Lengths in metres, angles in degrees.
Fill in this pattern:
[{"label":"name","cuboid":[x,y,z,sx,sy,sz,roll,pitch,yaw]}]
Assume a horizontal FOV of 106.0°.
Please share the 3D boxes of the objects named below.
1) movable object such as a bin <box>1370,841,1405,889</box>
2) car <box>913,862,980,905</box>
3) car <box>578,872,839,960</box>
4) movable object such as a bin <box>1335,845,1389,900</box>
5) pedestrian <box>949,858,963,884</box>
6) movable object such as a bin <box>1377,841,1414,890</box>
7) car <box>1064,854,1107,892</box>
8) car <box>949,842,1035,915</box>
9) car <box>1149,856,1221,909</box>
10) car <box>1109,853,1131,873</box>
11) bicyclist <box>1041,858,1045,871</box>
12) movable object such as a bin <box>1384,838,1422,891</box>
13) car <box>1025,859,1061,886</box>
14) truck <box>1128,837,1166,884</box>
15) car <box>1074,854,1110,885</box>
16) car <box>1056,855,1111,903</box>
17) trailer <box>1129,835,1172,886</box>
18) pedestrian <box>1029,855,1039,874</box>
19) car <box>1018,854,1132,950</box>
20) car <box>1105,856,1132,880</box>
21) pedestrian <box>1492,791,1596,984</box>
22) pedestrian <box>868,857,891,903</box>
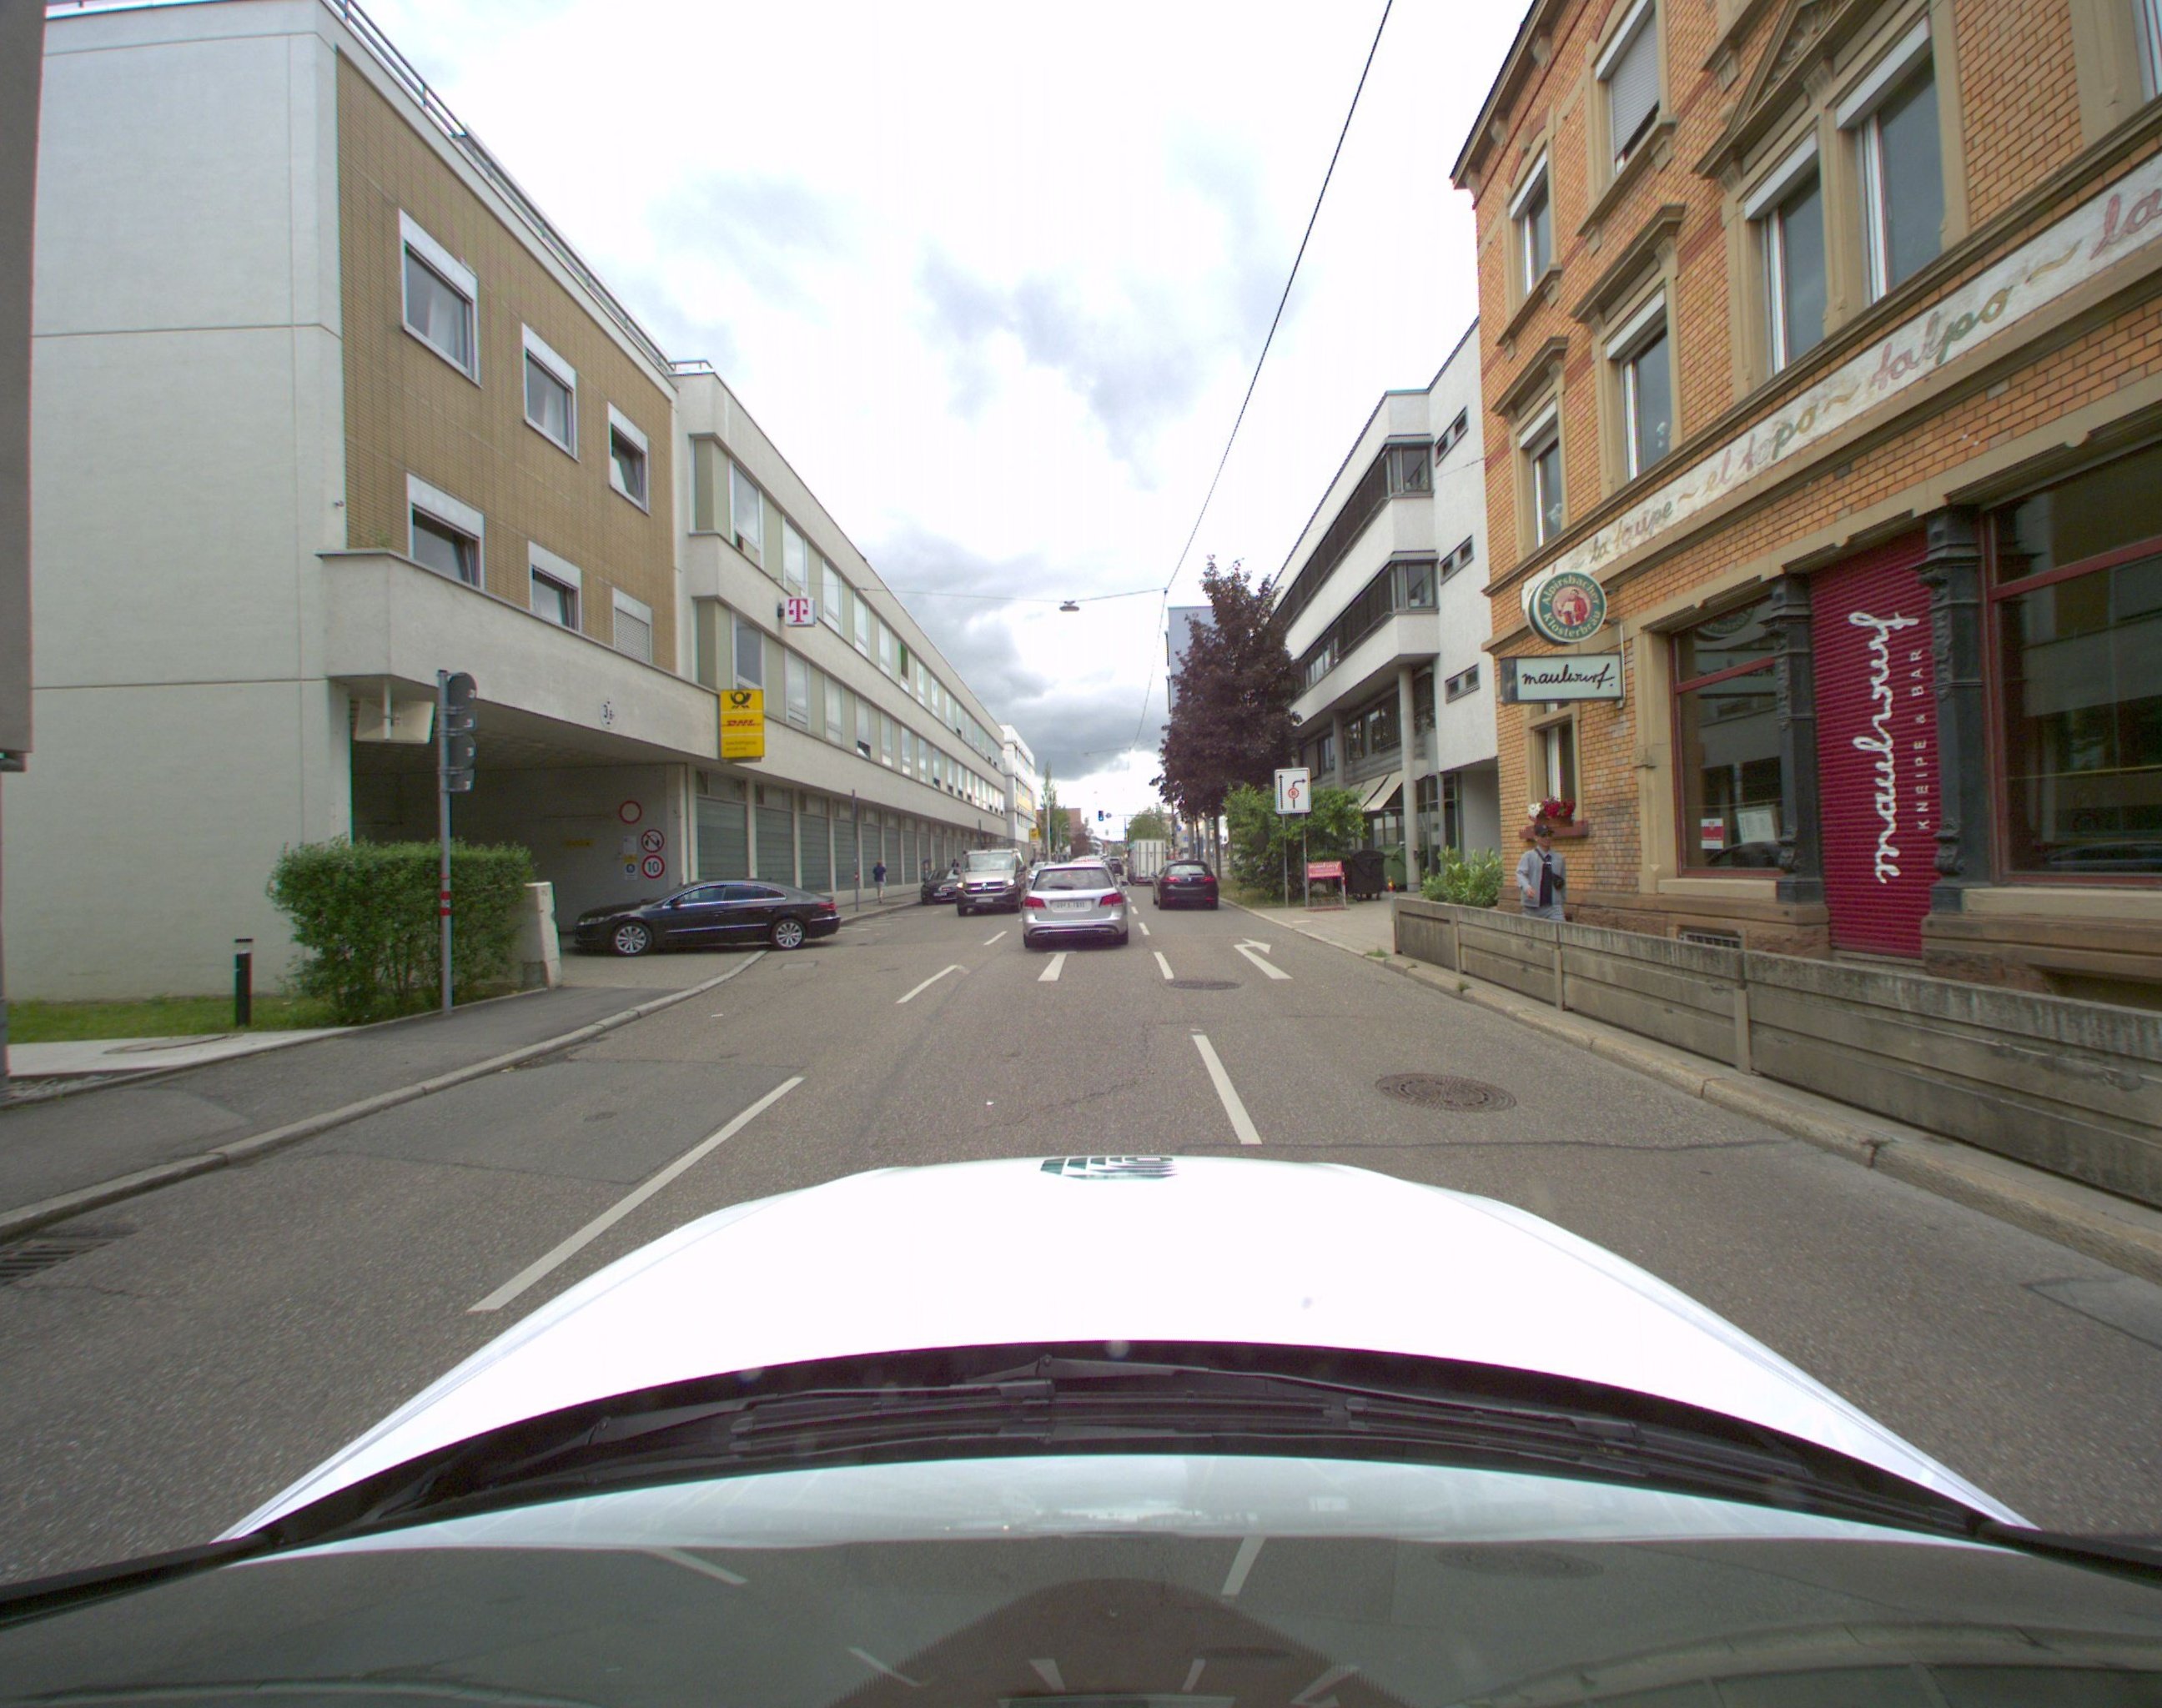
[{"label":"movable object such as a bin","cuboid":[10.245,0.370,27.222,0.817,1.504,0.732,-4,-2,3]},{"label":"car","cuboid":[-5.459,1.148,33.592,1.906,1.517,4.176,-3,0,1]},{"label":"car","cuboid":[-7.204,1.120,16.010,4.424,1.365,1.769,-2,0,-28]},{"label":"movable object such as a bin","cuboid":[7.965,0.520,23.130,0.940,1.470,1.445,-4,-1,-1]},{"label":"pedestrian","cuboid":[-7.842,1.076,51.131,0.653,1.623,0.681,-2,0,3]},{"label":"movable object such as a bin","cuboid":[10.213,0.373,26.465,0.817,1.490,0.732,-4,-2,3]},{"label":"car","cuboid":[0.225,0.807,36.155,1.797,1.601,3.738,-1,0,1]},{"label":"car","cuboid":[-2.726,0.722,26.058,1.986,2.013,4.903,-3,0,1]},{"label":"car","cuboid":[3.083,0.813,24.820,1.759,1.433,3.829,-2,0,1]},{"label":"car","cuboid":[3.368,0.760,70.638,1.797,1.601,3.738,-1,0,1]},{"label":"bicyclist","cuboid":[-4.761,1.317,101.767,0.443,1.697,0.555,0,-1,1]},{"label":"movable object such as a bin","cuboid":[10.155,0.331,25.711,0.817,1.589,0.732,-4,-2,3]},{"label":"car","cuboid":[-2.198,1.084,48.075,1.763,1.413,4.176,-3,0,1]},{"label":"truck","cuboid":[3.842,0.372,48.054,1.986,2.607,3.261,-2,0,1]},{"label":"car","cuboid":[0.619,0.807,43.903,1.797,1.601,3.738,-1,0,1]},{"label":"car","cuboid":[0.122,0.837,29.065,1.797,1.553,3.738,-2,0,1]},{"label":"trailer","cuboid":[3.778,0.370,45.272,1.986,2.607,5.350,-2,0,1]},{"label":"pedestrian","cuboid":[-4.815,1.063,82.944,0.915,1.869,0.783,-2,0,1]},{"label":"car","cuboid":[-0.051,0.791,15.081,1.797,1.492,3.738,-2,0,1]},{"label":"car","cuboid":[2.648,0.967,57.854,1.797,1.601,3.738,-1,0,1]},{"label":"pedestrian","cuboid":[5.064,0.356,8.948,0.691,2.013,0.677,-2,0,0]},{"label":"pedestrian","cuboid":[-7.929,1.023,32.073,0.640,1.769,0.810,-2,0,1]}]
